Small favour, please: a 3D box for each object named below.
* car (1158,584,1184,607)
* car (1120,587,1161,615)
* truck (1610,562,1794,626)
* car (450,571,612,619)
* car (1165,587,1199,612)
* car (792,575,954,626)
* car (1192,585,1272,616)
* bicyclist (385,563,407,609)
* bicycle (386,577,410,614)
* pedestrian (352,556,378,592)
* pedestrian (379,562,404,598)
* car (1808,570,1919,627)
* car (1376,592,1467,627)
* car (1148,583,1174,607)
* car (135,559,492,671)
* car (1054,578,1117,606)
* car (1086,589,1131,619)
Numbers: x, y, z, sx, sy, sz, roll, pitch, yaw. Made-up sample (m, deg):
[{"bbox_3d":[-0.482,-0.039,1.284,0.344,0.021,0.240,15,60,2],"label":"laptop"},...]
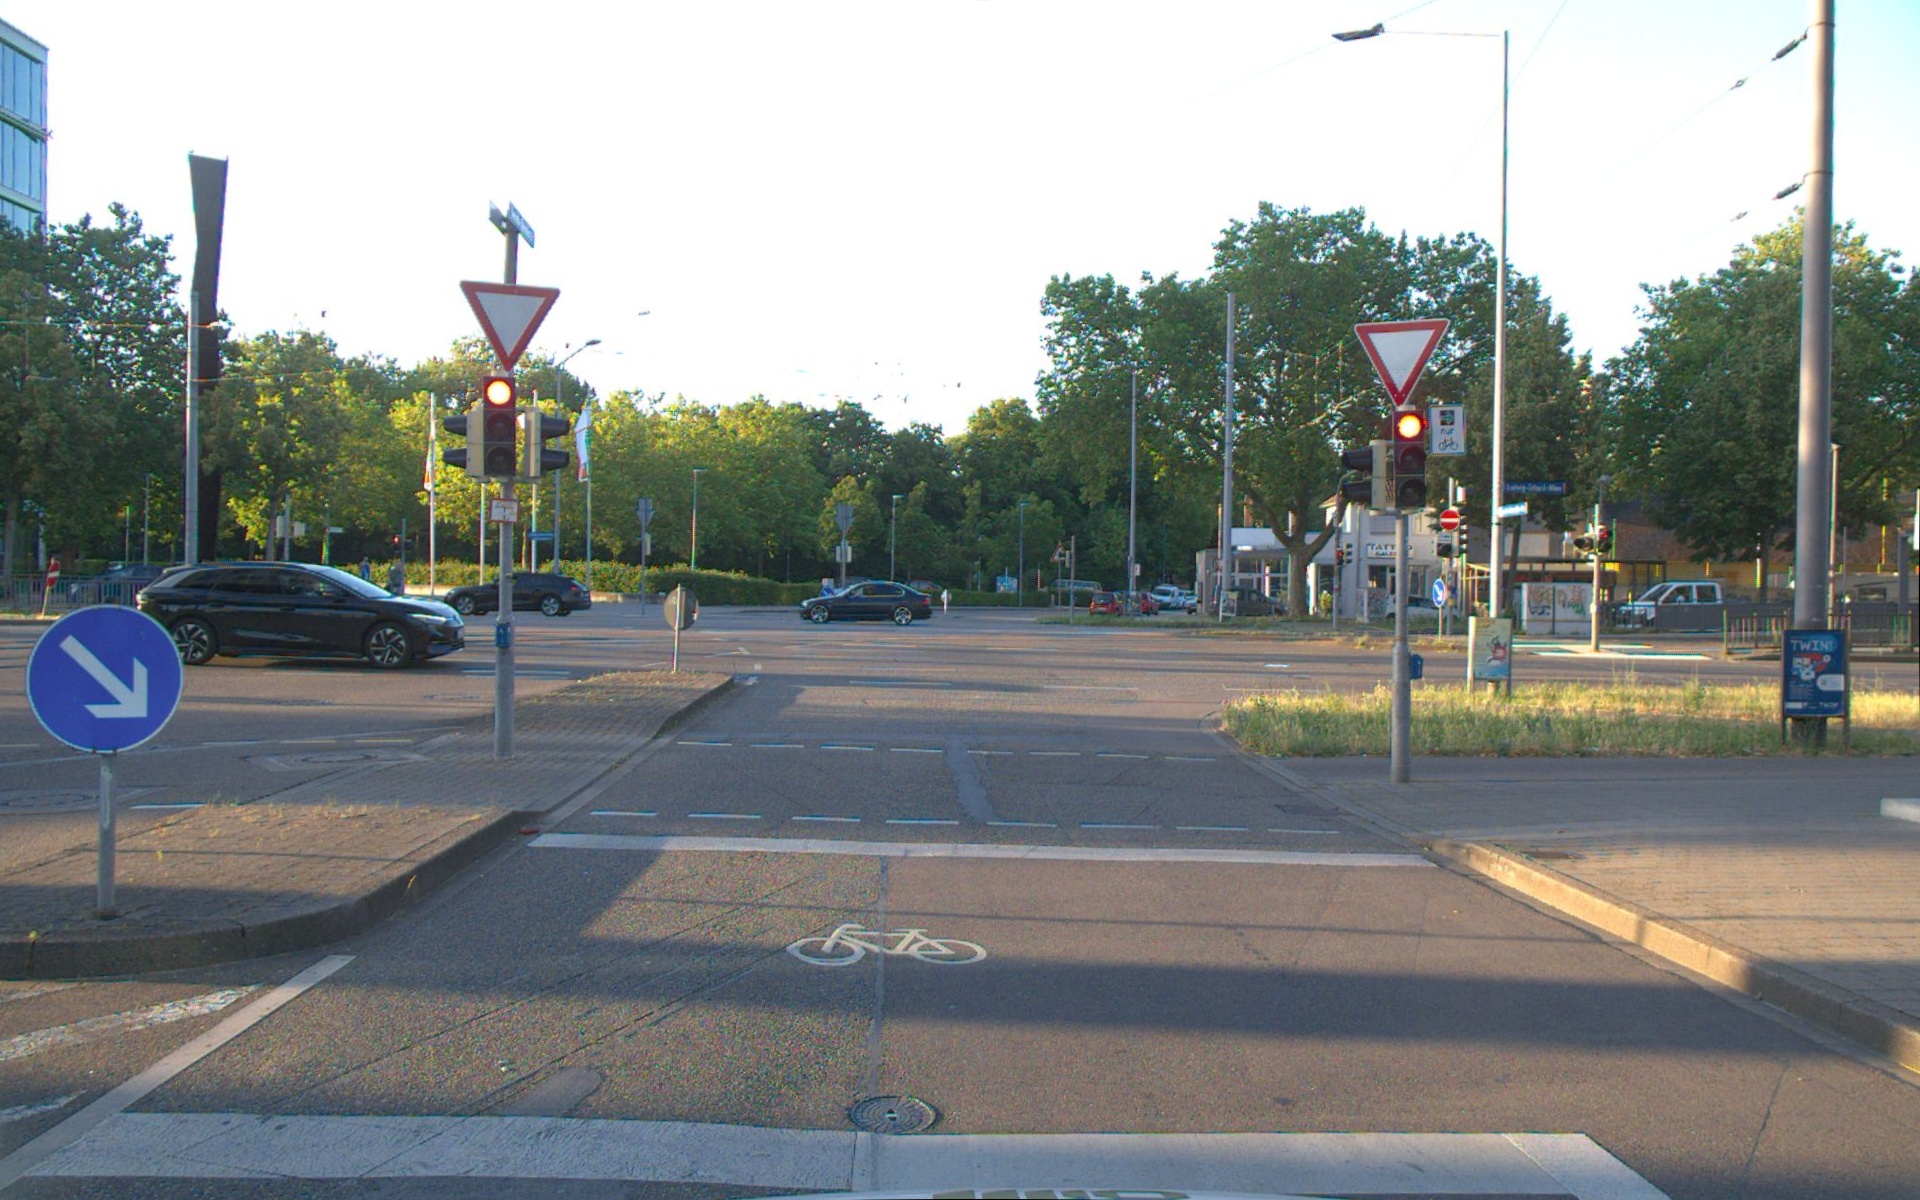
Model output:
[{"bbox_3d":[17.419,-0.340,136.346,1.823,1.825,4.003,0,-1,12],"label":"car"},{"bbox_3d":[11.331,0.104,103.536,1.951,1.691,4.003,0,-1,14],"label":"car"},{"bbox_3d":[25.596,-0.213,57.163,5.443,2.090,2.068,1,0,0],"label":"truck"},{"bbox_3d":[-14.679,-0.156,56.799,4.997,1.579,1.999,1,-1,-2],"label":"car"},{"bbox_3d":[15.566,-0.053,115.828,1.951,1.691,4.003,0,-1,14],"label":"car"},{"bbox_3d":[-2.778,0.020,53.572,5.119,1.579,1.999,1,-1,-2],"label":"car"},{"bbox_3d":[14.665,0.032,89.383,4.129,1.579,2.001,1,-1,7],"label":"car"},{"bbox_3d":[-21.461,-0.528,62.952,0.740,1.739,0.914,1,0,-22],"label":"bicyclist"},{"bbox_3d":[-21.447,-0.192,63.061,0.719,1.364,2.673,1,1,-22],"label":"bicycle"},{"bbox_3d":[-28.956,-1.267,80.534,0.843,1.774,0.829,1,0,28],"label":"pedestrian"},{"bbox_3d":[-28.184,-0.992,81.961,0.844,1.774,0.829,1,0,30],"label":"pedestrian"},{"bbox_3d":[43.662,-0.069,78.695,5.476,2.596,2.231,1,0,7],"label":"car"},{"bbox_3d":[20.216,0.428,72.553,3.659,1.465,1.665,1,-1,9],"label":"car"},{"bbox_3d":[16.010,-0.351,131.431,1.823,1.825,4.003,1,-1,10],"label":"car"},{"bbox_3d":[-10.040,0.225,26.016,4.811,1.643,1.998,1,0,-5],"label":"car"},{"bbox_3d":[9.520,-0.577,126.021,4.675,2.041,2.000,1,-1,1],"label":"car"},{"bbox_3d":[8.633,0.229,95.807,1.951,1.691,4.003,0,-1,14],"label":"car"}]
